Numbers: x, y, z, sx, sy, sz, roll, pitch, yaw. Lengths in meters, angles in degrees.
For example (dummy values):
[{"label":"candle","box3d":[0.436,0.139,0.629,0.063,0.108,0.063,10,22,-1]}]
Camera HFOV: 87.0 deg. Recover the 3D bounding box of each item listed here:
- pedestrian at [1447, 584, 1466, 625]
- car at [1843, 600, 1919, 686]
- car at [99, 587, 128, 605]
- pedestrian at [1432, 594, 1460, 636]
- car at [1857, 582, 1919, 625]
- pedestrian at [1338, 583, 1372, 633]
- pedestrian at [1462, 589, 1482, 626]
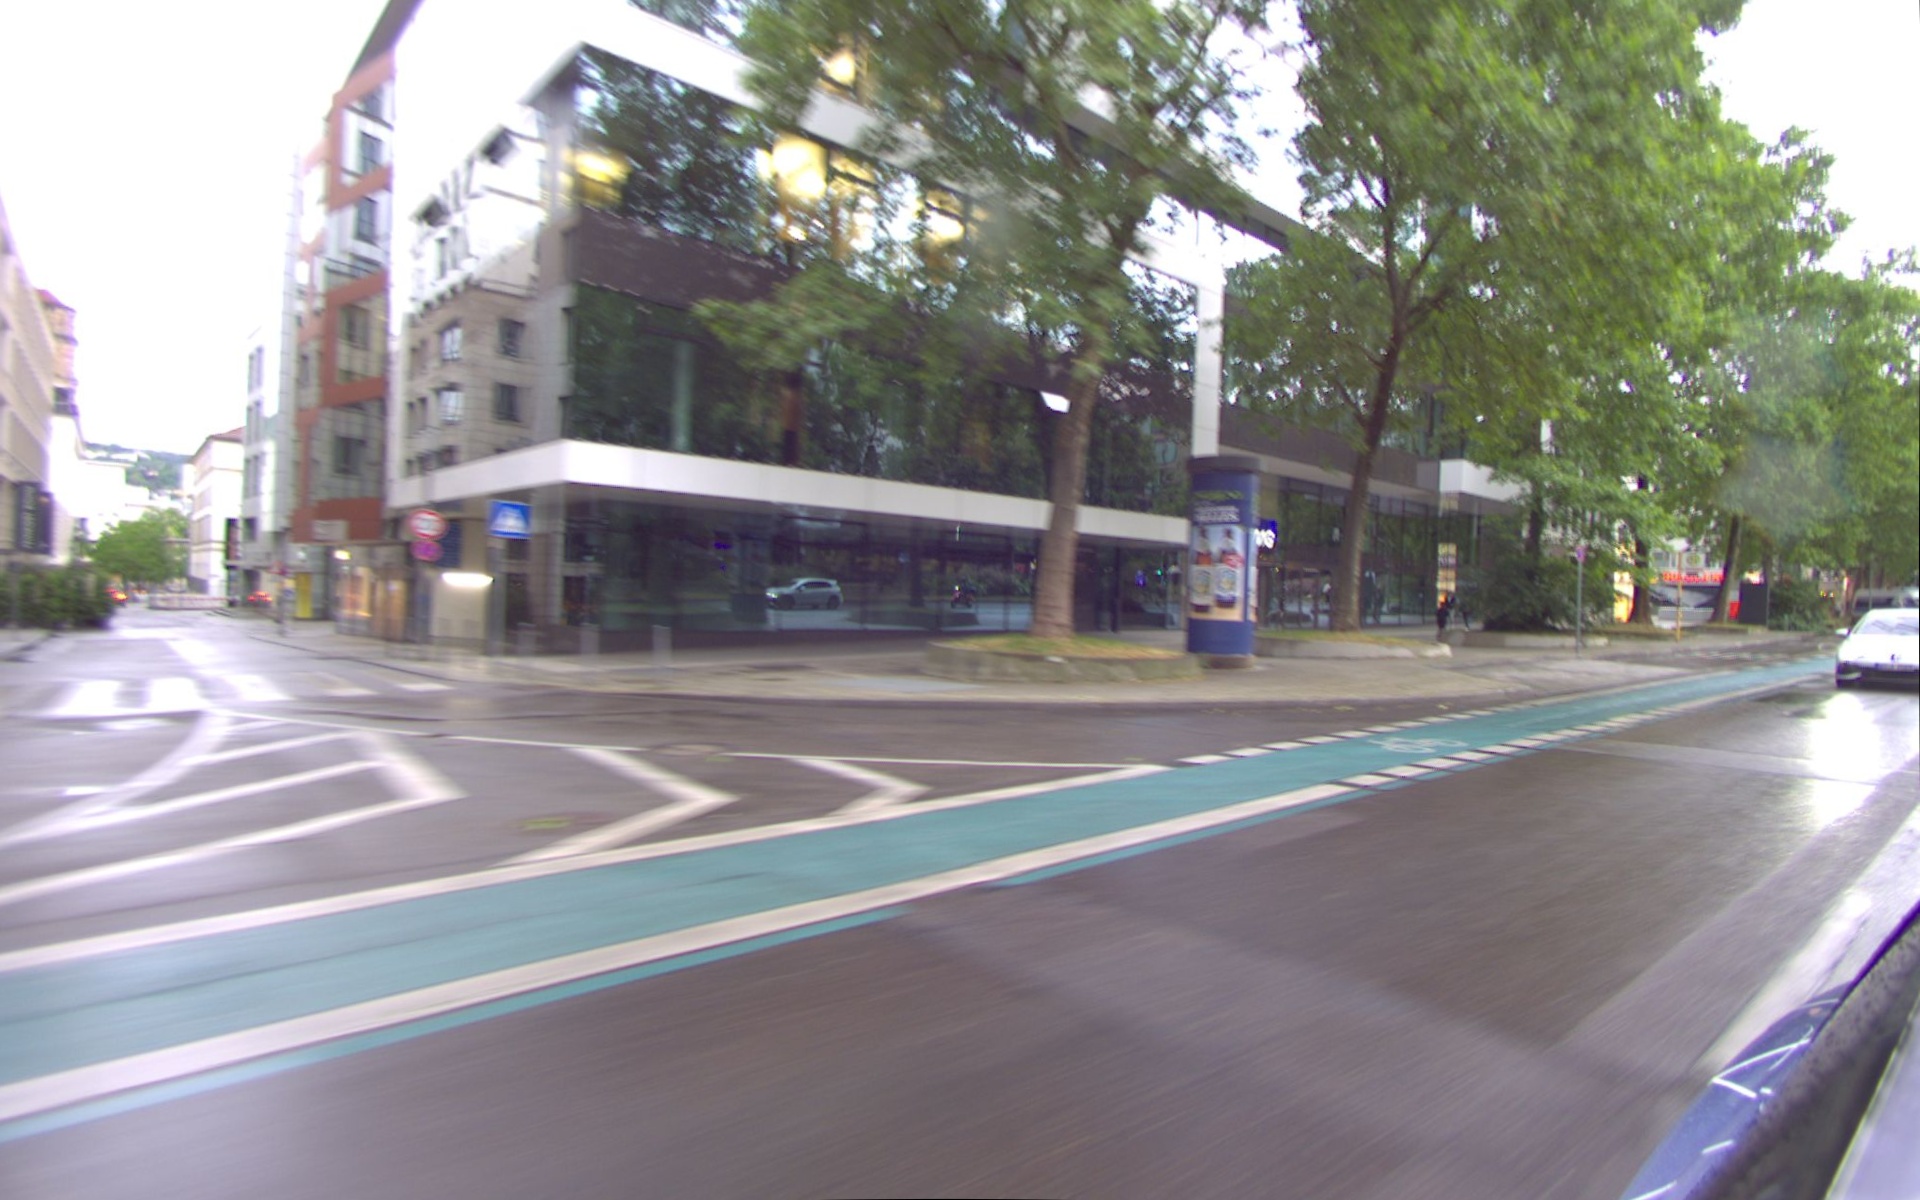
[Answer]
[{"label":"pedestrian","box3d":[23.316,0.187,47.538,0.692,1.881,0.523,-1,3,-41]},{"label":"car","box3d":[17.956,0.749,18.829,3.727,1.490,1.794,0,0,-41]},{"label":"car","box3d":[-74.892,-0.340,89.547,1.733,1.549,3.843,0,0,-43]},{"label":"pedestrian","box3d":[18.337,0.562,38.196,0.987,1.524,0.588,1,1,-40]},{"label":"car","box3d":[61.836,0.206,65.121,2.275,2.714,6.292,0,1,-5]},{"label":"pedestrian","box3d":[14.909,0.308,38.227,0.787,1.816,1.071,4,2,41]},{"label":"pedestrian","box3d":[23.775,0.339,46.976,0.707,1.645,0.527,-1,3,-41]}]
